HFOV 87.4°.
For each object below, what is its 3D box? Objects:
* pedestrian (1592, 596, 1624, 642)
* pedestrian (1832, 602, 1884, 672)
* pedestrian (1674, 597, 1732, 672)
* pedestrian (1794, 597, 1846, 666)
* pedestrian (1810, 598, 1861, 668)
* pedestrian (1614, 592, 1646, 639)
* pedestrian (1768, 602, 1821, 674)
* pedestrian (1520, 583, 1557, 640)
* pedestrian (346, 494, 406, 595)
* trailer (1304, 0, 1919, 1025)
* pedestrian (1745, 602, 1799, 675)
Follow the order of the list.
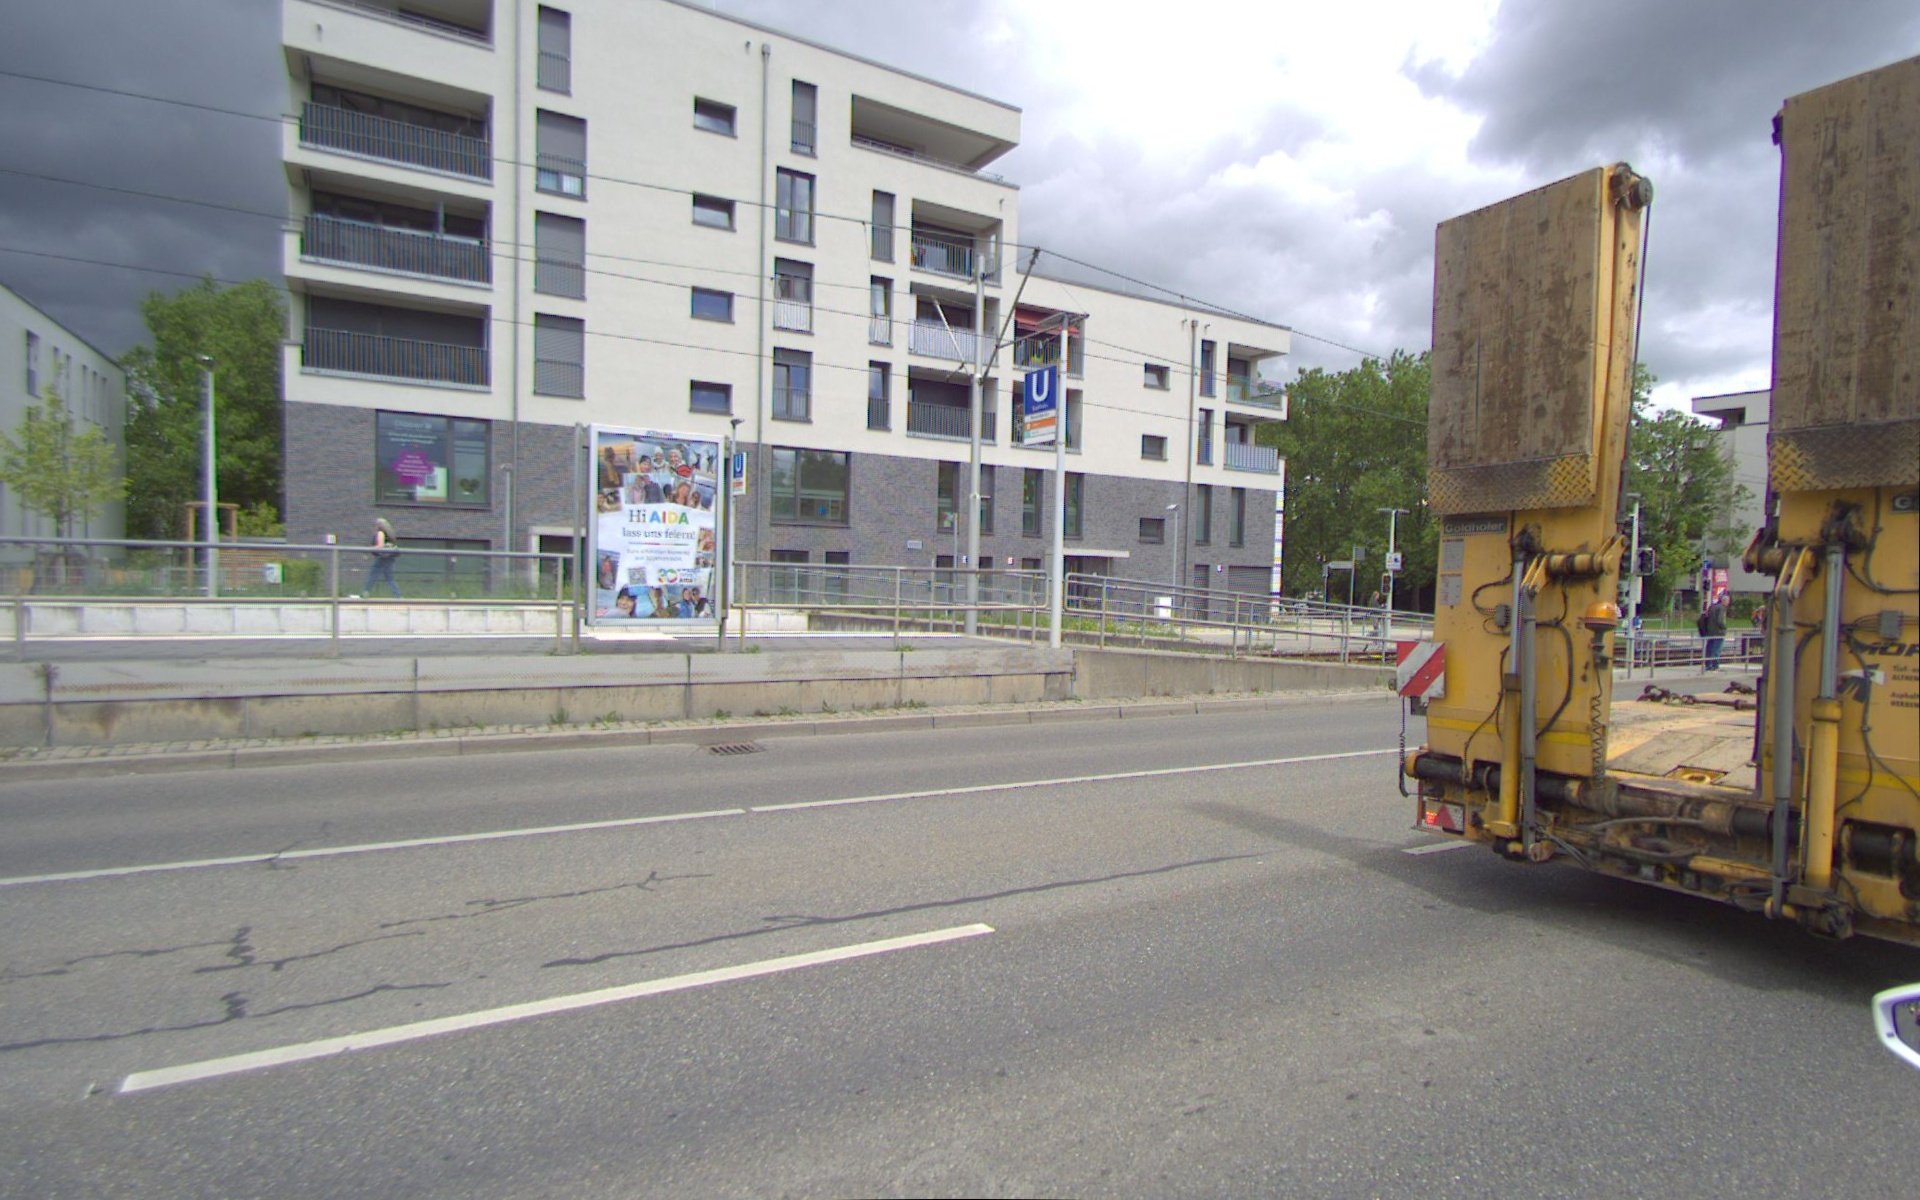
[{"bbox_3d":[31.255,0.918,48.455,0.924,2.162,0.910,1,2,-31],"label":"pedestrian"},{"bbox_3d":[22.764,0.916,25.459,0.932,1.692,0.825,0,2,-42],"label":"pedestrian"},{"bbox_3d":[17.266,0.794,23.357,0.675,1.691,0.816,1,2,-29],"label":"pedestrian"},{"bbox_3d":[20.872,0.755,24.389,0.814,1.624,0.678,1,2,-31],"label":"pedestrian"},{"bbox_3d":[21.803,0.811,25.012,0.814,1.692,0.678,1,2,-31],"label":"pedestrian"},{"bbox_3d":[31.656,0.735,47.462,0.924,2.162,0.910,1,2,-31],"label":"pedestrian"},{"bbox_3d":[19.692,0.887,23.693,0.814,1.624,0.678,1,2,-31],"label":"pedestrian"},{"bbox_3d":[23.434,0.453,40.684,0.872,2.234,0.910,1,2,-31],"label":"pedestrian"},{"bbox_3d":[-10.828,-1.014,18.625,0.924,1.789,0.671,1,2,-32],"label":"pedestrian"},{"bbox_3d":[7.355,-0.367,7.101,11.124,3.607,2.715,1,2,-31],"label":"trailer"},{"bbox_3d":[18.674,0.867,23.101,0.814,1.624,0.678,1,2,-31],"label":"pedestrian"}]
